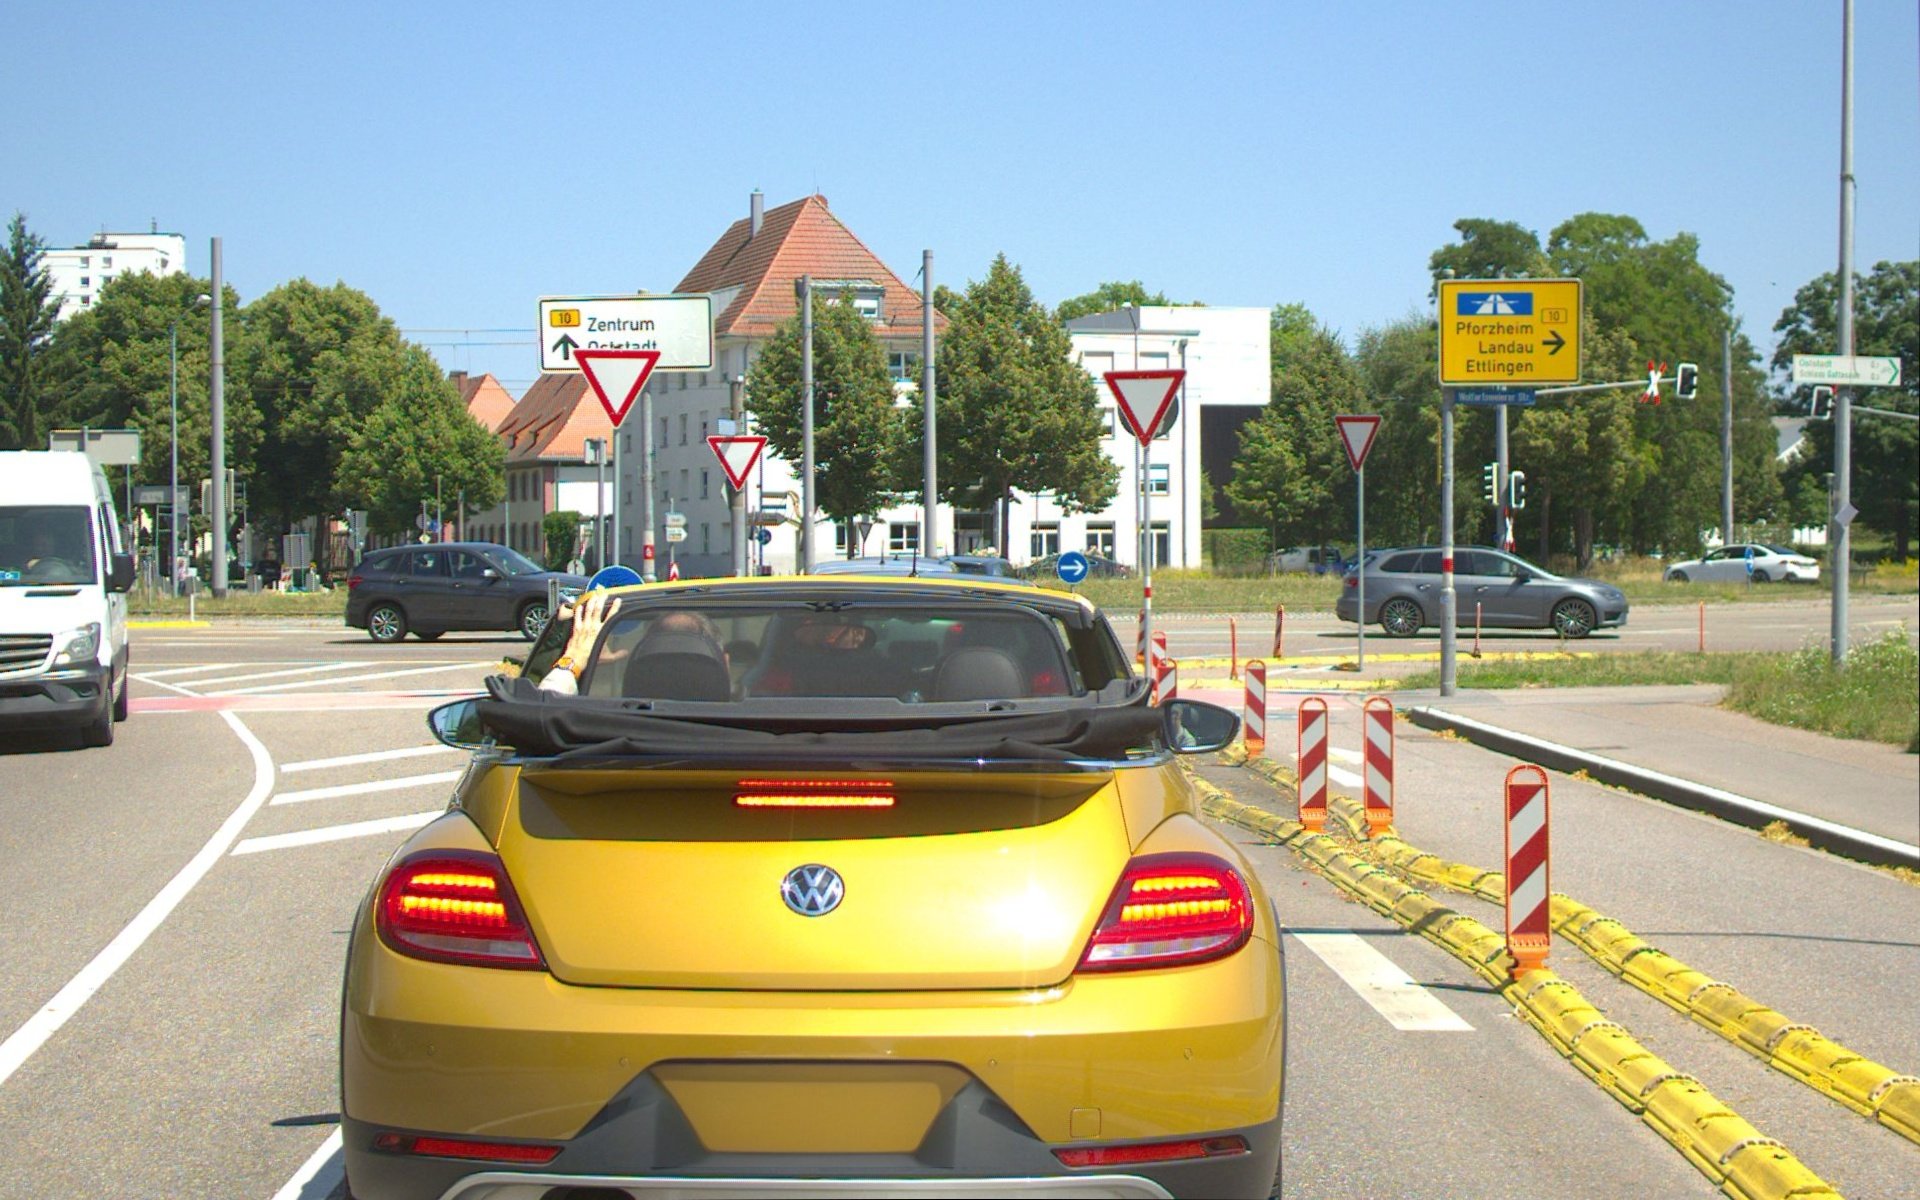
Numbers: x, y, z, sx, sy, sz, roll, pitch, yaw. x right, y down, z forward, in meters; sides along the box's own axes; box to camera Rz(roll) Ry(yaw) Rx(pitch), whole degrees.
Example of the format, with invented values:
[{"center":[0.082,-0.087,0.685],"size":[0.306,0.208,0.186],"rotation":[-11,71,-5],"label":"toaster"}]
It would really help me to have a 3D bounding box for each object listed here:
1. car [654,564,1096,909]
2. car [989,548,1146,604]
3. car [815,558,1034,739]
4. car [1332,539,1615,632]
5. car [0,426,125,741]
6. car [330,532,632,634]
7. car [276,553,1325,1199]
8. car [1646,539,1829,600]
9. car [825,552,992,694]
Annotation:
[{"center":[-0.377,0.554,16.445],"size":[1.848,1.437,4.000],"rotation":[0,1,-1],"label":"car"},{"center":[3.637,-0.810,116.210],"size":[4.921,1.780,2.024],"rotation":[-1,1,20],"label":"car"},{"center":[-0.305,0.364,29.446],"size":[1.736,1.437,4.000],"rotation":[0,1,-1],"label":"car"},{"center":[8.067,-0.242,53.896],"size":[4.196,1.386,1.900],"rotation":[1,1,15],"label":"car"},{"center":[-8.686,-0.156,31.073],"size":[2.019,2.530,6.830],"rotation":[-1,1,-15],"label":"car"},{"center":[-7.724,-0.290,55.638],"size":[4.435,1.590,1.999],"rotation":[1,1,11],"label":"car"},{"center":[-0.297,0.615,7.664],"size":[1.752,1.417,3.778],"rotation":[0,1,-1],"label":"car"},{"center":[23.780,-0.929,105.322],"size":[2.021,1.780,5.177],"rotation":[-2,1,-44],"label":"car"},{"center":[-0.559,0.216,38.007],"size":[1.736,1.472,4.000],"rotation":[0,1,-1],"label":"car"}]
